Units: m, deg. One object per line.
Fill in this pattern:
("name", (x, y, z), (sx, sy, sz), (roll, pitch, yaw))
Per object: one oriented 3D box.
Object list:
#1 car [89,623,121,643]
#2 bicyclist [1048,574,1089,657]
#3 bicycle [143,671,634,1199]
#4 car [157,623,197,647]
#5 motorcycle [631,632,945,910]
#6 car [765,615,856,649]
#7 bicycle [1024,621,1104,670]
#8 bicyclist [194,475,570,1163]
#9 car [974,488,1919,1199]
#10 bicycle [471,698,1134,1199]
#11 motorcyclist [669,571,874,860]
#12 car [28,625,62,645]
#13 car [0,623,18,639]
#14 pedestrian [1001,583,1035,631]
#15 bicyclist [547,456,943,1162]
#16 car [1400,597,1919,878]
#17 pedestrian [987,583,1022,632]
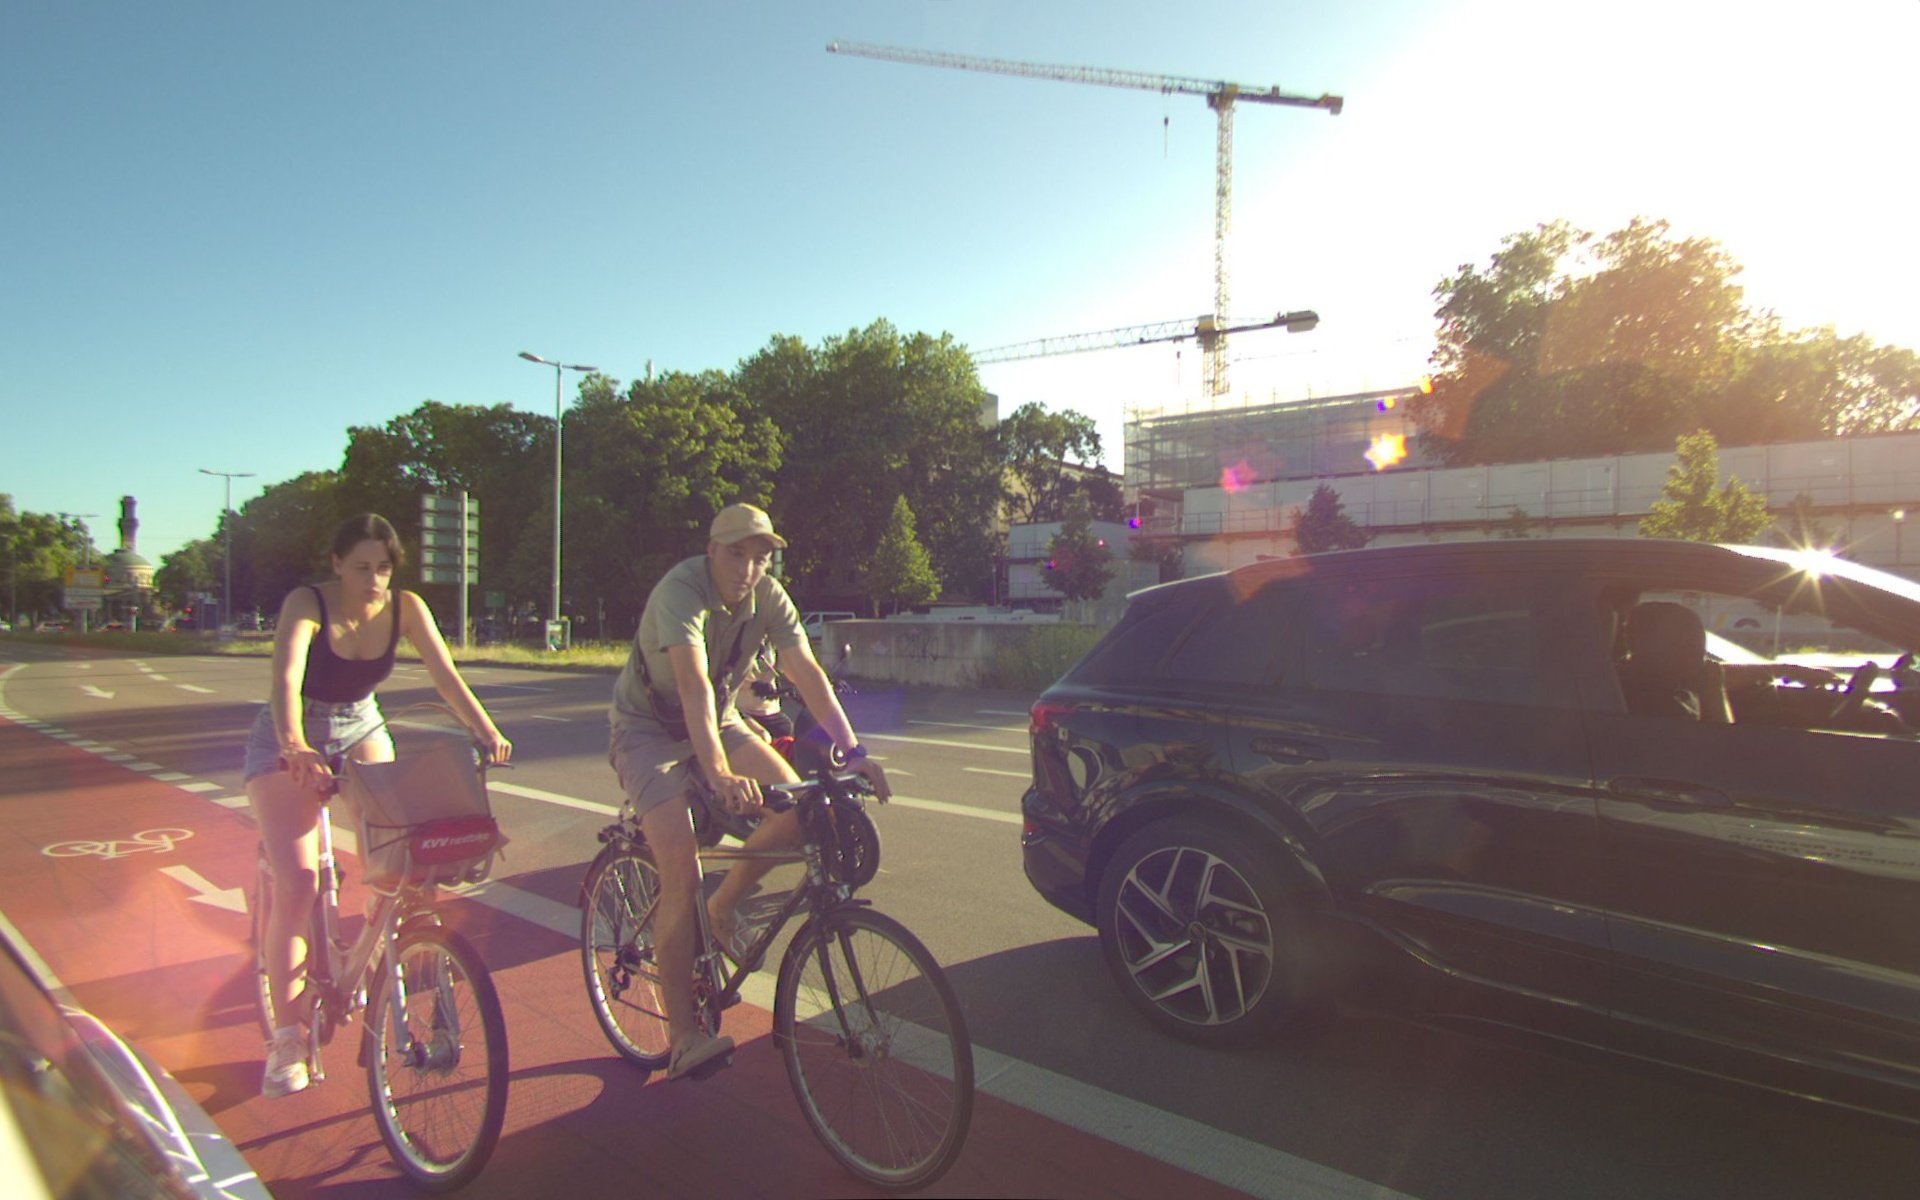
("car", (-79.864, 3.039, 94.542), (3.945, 1.802, 1.725), (-1, 0, 41))
("bicyclist", (4.146, 0.582, 38.768), (1.305, 3.126, 0.831), (-1, 0, 39))
("bicycle", (-1.754, 0.863, 2.959), (1.829, 1.227, 0.610), (-2, -1, 39))
("car", (-62.771, 2.778, 81.079), (3.998, 1.841, 1.796), (-1, 0, 41))
("motorcycle", (-1.032, 0.846, 5.737), (1.883, 1.303, 0.715), (-2, -1, 41))
("car", (-9.057, 1.929, 61.852), (2.065, 1.950, 5.443), (-1, -2, 42))
("bicycle", (3.974, 1.744, 38.889), (3.079, 1.824, 0.831), (-3, -1, 40))
("bicyclist", (-1.643, 0.510, 2.867), (0.874, 1.591, 0.635), (-2, -1, 39))
("car", (2.417, 0.580, 3.033), (4.677, 1.647, 1.753), (-1, 0, 40))
("bicycle", (-0.557, 0.896, 2.793), (1.968, 1.118, 0.640), (-2, -1, 39))
("motorcyclist", (-1.078, 0.600, 5.777), (0.917, 1.485, 0.717), (-2, -1, 41))
("car", (-82.592, 3.101, 91.325), (3.998, 1.699, 1.826), (-1, 0, 41))
("car", (-105.128, 3.389, 110.100), (3.957, 1.699, 1.845), (-1, 0, 11))
("pedestrian", (2.487, 0.295, 43.591), (1.135, 2.029, 0.930), (-1, 0, 35))
("bicyclist", (-0.607, 0.481, 2.867), (0.841, 1.618, 0.709), (-1, -1, 39))
("car", (4.976, 0.758, 6.552), (3.603, 1.497, 1.477), (-2, -1, 41))
("pedestrian", (1.877, 0.322, 42.761), (1.135, 2.029, 0.930), (-1, 0, 35))
